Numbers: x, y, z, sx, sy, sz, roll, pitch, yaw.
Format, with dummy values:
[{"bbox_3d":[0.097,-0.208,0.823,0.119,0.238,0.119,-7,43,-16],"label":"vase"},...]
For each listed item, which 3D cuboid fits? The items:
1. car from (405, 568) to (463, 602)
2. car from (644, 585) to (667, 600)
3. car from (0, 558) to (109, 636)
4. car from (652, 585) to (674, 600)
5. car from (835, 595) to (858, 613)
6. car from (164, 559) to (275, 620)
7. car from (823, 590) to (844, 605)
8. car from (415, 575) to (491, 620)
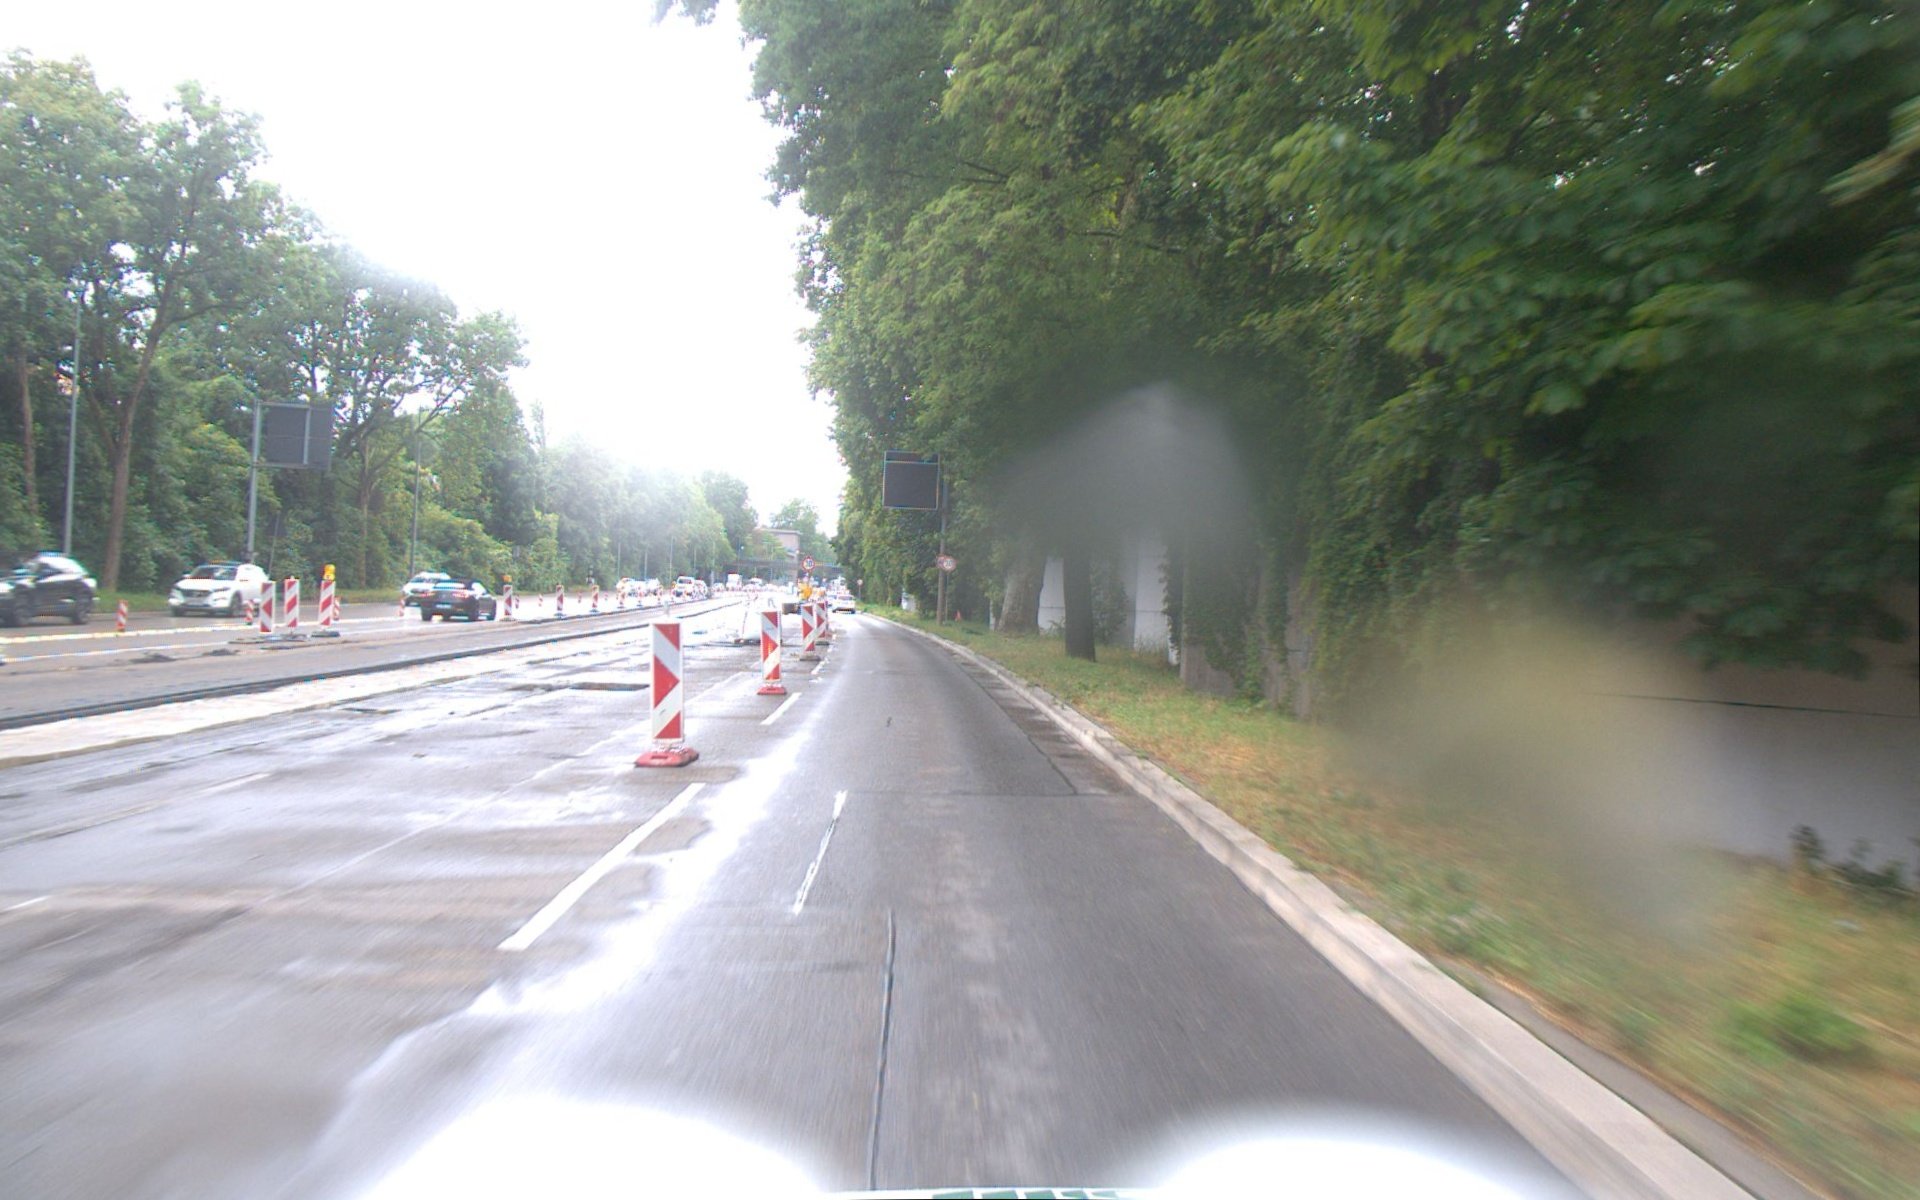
[{"bbox_3d":[-24.801,-0.716,78.168,1.633,1.568,4.155,0,0,-4],"label":"car"},{"bbox_3d":[-28.840,-0.717,156.685,1.782,1.379,4.385,1,0,-5],"label":"car"},{"bbox_3d":[-21.896,-0.085,38.676,1.742,1.692,4.911,1,0,-4],"label":"car"},{"bbox_3d":[-29.149,-0.764,162.233,1.782,1.379,4.200,1,0,-5],"label":"car"},{"bbox_3d":[-9.040,0.320,131.558,1.664,1.359,3.487,1,0,-5],"label":"car"},{"bbox_3d":[-23.018,-0.322,51.578,1.742,1.781,4.376,2,0,-5],"label":"car"},{"bbox_3d":[-12.650,-0.227,165.628,1.817,1.458,3.729,1,0,-2],"label":"car"},{"bbox_3d":[-17.506,-0.100,57.252,1.576,1.429,4.037,3,0,-5],"label":"car"}]
